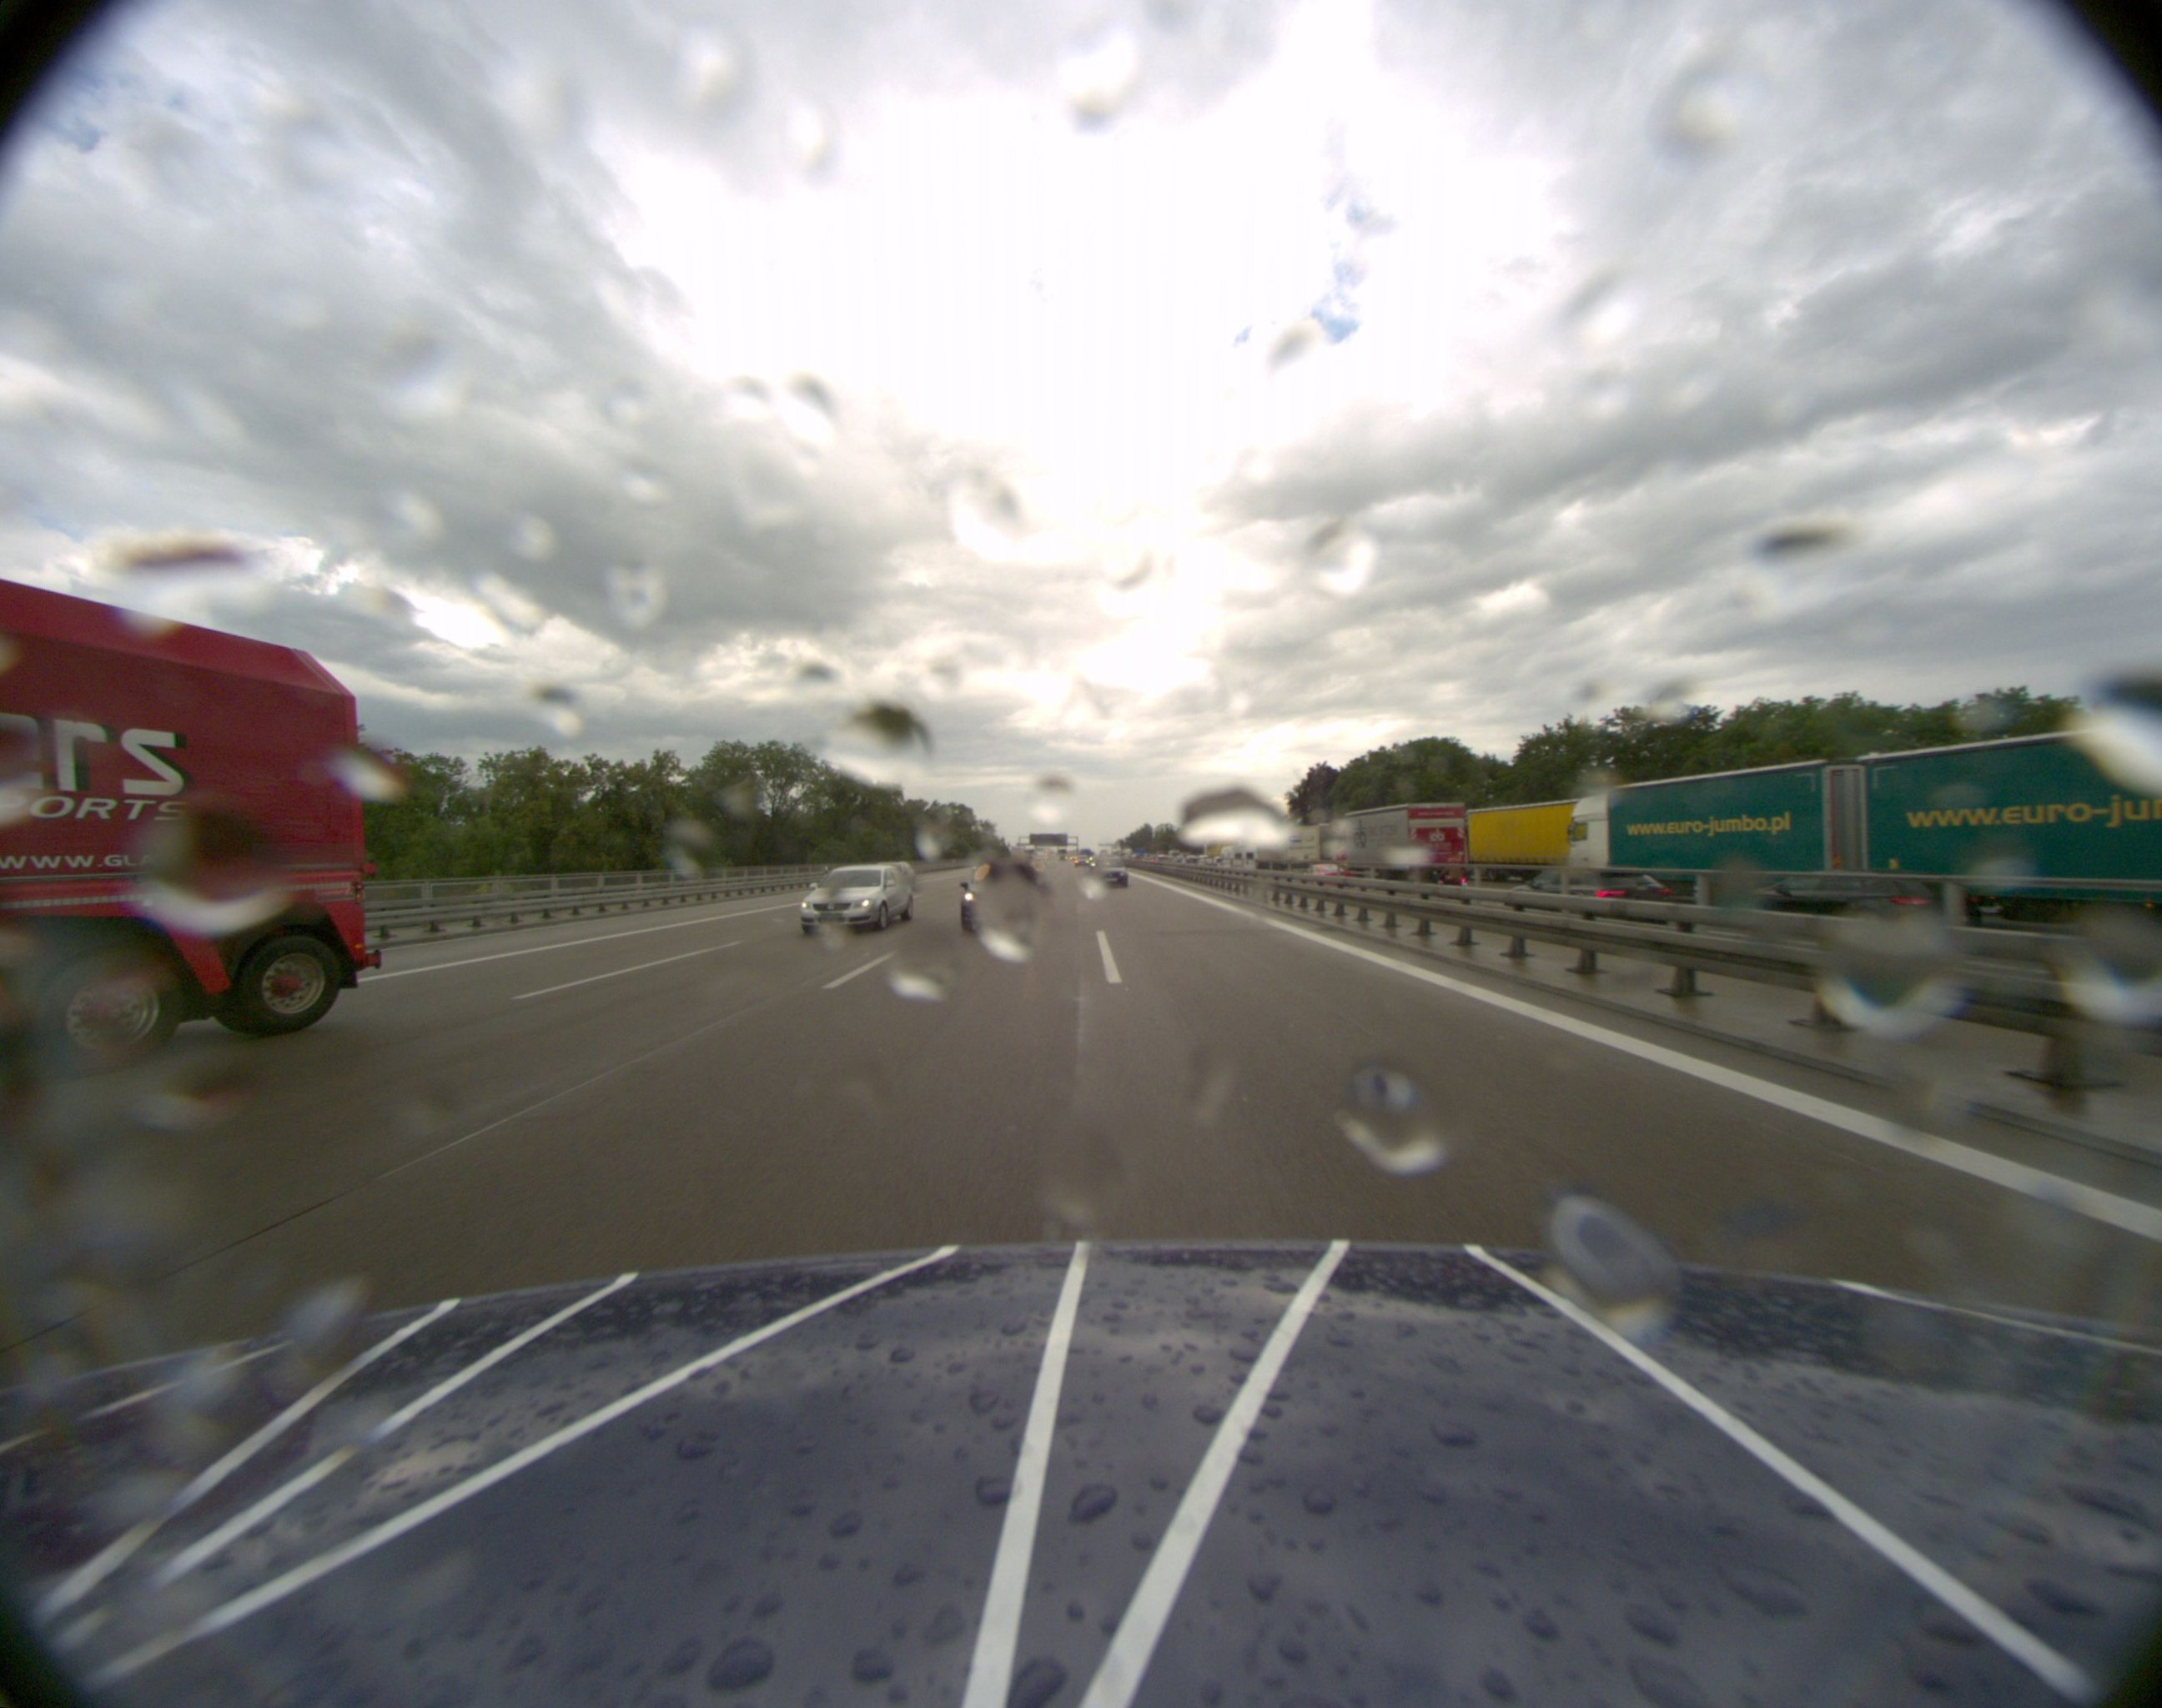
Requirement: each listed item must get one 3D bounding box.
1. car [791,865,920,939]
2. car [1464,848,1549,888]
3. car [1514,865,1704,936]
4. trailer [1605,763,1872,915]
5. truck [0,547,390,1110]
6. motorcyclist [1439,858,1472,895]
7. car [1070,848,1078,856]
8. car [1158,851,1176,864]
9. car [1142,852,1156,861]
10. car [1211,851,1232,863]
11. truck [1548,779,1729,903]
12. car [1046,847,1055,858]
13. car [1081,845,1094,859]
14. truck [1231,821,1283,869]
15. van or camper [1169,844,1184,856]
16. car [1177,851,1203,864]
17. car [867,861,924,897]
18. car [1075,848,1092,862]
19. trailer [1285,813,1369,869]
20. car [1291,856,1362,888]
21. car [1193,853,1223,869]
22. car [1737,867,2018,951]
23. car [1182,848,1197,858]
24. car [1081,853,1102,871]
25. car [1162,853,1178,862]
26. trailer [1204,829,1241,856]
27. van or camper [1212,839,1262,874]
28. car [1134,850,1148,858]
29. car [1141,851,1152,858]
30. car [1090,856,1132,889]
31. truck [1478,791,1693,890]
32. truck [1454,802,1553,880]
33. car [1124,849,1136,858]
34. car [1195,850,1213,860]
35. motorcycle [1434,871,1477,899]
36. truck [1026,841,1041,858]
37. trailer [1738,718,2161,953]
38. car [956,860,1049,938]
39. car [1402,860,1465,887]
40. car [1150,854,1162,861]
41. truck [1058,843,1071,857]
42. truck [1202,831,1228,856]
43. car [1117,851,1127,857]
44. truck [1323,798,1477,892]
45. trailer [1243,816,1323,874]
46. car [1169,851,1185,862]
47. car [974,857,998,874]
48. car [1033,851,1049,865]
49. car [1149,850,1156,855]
[{"bbox_3d":[-5.184,1.037,18.099,1.898,1.438,4.245,-2,0,-2],"label":"car"},{"bbox_3d":[20.944,0.637,37.602,1.998,1.820,4.000,-2,1,2],"label":"car"},{"bbox_3d":[12.485,1.024,18.318,1.836,1.443,4.000,-1,0,1],"label":"car"},{"bbox_3d":[20.006,-0.421,23.750,2.842,4.006,6.313,-2,1,0],"label":"trailer"},{"bbox_3d":[-9.159,-0.138,0.485,3.160,3.980,15.634,-2,0,-1],"label":"truck"},{"bbox_3d":[13.825,0.828,28.063,0.730,1.333,1.030,-1,1,1],"label":"motorcyclist"},{"bbox_3d":[-1.901,-0.442,202.476,1.999,2.002,3.507,-2,1,-1],"label":"car"},{"bbox_3d":[12.260,0.481,108.554,1.918,1.756,5.330,-1,0,-1],"label":"car"},{"bbox_3d":[11.343,0.362,126.910,1.767,1.375,4.819,-1,0,-2],"label":"car"},{"bbox_3d":[16.320,0.308,88.436,1.606,1.379,4.099,-1,0,-1],"label":"car"},{"bbox_3d":[20.022,-0.448,27.681,2.852,4.006,4.963,-2,1,0],"label":"truck"},{"bbox_3d":[-7.481,-0.456,185.242,2.037,2.587,4.513,-1,0,-1],"label":"car"},{"bbox_3d":[1.041,-0.327,130.931,1.999,2.354,4.171,-2,1,-1],"label":"car"},{"bbox_3d":[16.097,-0.796,69.968,2.888,4.156,7.555,-1,1,-1],"label":"truck"},{"bbox_3d":[22.078,-0.915,176.807,2.208,2.749,7.229,-1,0,-3],"label":"van or camper"},{"bbox_3d":[12.286,0.421,85.807,2.020,1.379,5.458,-1,0,-1],"label":"car"},{"bbox_3d":[-8.993,1.170,37.148,1.820,1.534,4.357,-2,0,-2],"label":"car"},{"bbox_3d":[0.329,0.125,98.541,2.134,1.831,4.000,-1,1,1],"label":"car"},{"bbox_3d":[20.003,-1.026,62.871,2.887,4.121,13.028,-1,0,1],"label":"trailer"},{"bbox_3d":[12.259,0.865,38.316,1.927,1.410,5.011,-1,0,-1],"label":"car"},{"bbox_3d":[12.135,0.610,73.065,1.927,1.410,5.163,-1,0,-1],"label":"car"},{"bbox_3d":[16.590,1.065,16.183,1.836,1.443,4.000,-1,0,1],"label":"car"},{"bbox_3d":[22.745,-0.299,159.228,1.999,2.002,5.410,-1,1,-3],"label":"car"},{"bbox_3d":[0.895,0.714,67.657,1.751,1.489,4.014,-2,1,0],"label":"car"},{"bbox_3d":[15.193,0.506,129.558,1.814,1.471,5.218,-1,0,-3],"label":"car"},{"bbox_3d":[23.160,-1.800,125.164,3.256,4.203,14.507,-1,0,-1],"label":"trailer"},{"bbox_3d":[11.977,0.162,59.030,2.284,2.481,7.301,-1,0,-1],"label":"van or camper"},{"bbox_3d":[11.463,0.063,145.588,2.000,1.454,4.840,-1,0,-3],"label":"car"},{"bbox_3d":[14.527,0.118,169.556,1.868,1.603,4.462,-1,0,-3],"label":"car"},{"bbox_3d":[1.378,0.826,36.775,1.781,1.399,5.016,-2,0,0],"label":"car"},{"bbox_3d":[23.510,-0.583,36.656,2.727,3.959,11.693,-1,0,1],"label":"truck"},{"bbox_3d":[23.534,-0.705,42.644,2.709,4.046,5.108,-1,1,1],"label":"truck"},{"bbox_3d":[10.891,-0.064,168.716,1.871,1.816,5.707,-1,0,-3],"label":"car"},{"bbox_3d":[18.784,0.112,116.247,1.752,1.470,4.417,-1,0,-2],"label":"car"},{"bbox_3d":[13.825,1.138,28.101,0.735,0.960,1.789,-1,0,1],"label":"motorcycle"},{"bbox_3d":[-11.199,-1.028,178.124,3.255,3.884,12.309,-2,0,-4],"label":"truck"},{"bbox_3d":[19.959,-0.381,15.650,2.825,4.038,11.601,-2,0,0],"label":"trailer"},{"bbox_3d":[-1.688,0.937,17.619,1.668,1.431,4.404,-2,1,0],"label":"car"},{"bbox_3d":[19.983,1.080,43.221,1.603,1.336,4.194,-1,0,-1],"label":"car"},{"bbox_3d":[15.379,0.648,156.337,1.821,1.417,4.475,-1,0,-3],"label":"car"},{"bbox_3d":[-4.801,-1.057,220.448,2.958,3.777,12.322,-2,0,-5],"label":"truck"},{"bbox_3d":[23.111,-1.821,131.309,3.256,4.225,6.880,-1,1,-1],"label":"truck"},{"bbox_3d":[10.204,0.010,189.649,1.879,1.384,5.363,-1,0,-3],"label":"car"},{"bbox_3d":[16.115,-0.432,39.906,2.991,4.125,12.522,-1,0,1],"label":"truck"},{"bbox_3d":[16.166,-0.700,61.994,2.888,4.121,13.026,-1,0,-1],"label":"trailer"},{"bbox_3d":[14.482,0.317,114.922,1.752,1.567,4.417,-1,0,-2],"label":"car"},{"bbox_3d":[-8.925,1.074,71.434,1.782,1.438,4.587,-2,0,-2],"label":"car"},{"bbox_3d":[-5.389,0.484,102.732,1.962,1.831,3.999,-1,1,-2],"label":"car"},{"bbox_3d":[21.731,-0.459,231.143,1.998,1.747,4.000,-1,0,0],"label":"car"}]
